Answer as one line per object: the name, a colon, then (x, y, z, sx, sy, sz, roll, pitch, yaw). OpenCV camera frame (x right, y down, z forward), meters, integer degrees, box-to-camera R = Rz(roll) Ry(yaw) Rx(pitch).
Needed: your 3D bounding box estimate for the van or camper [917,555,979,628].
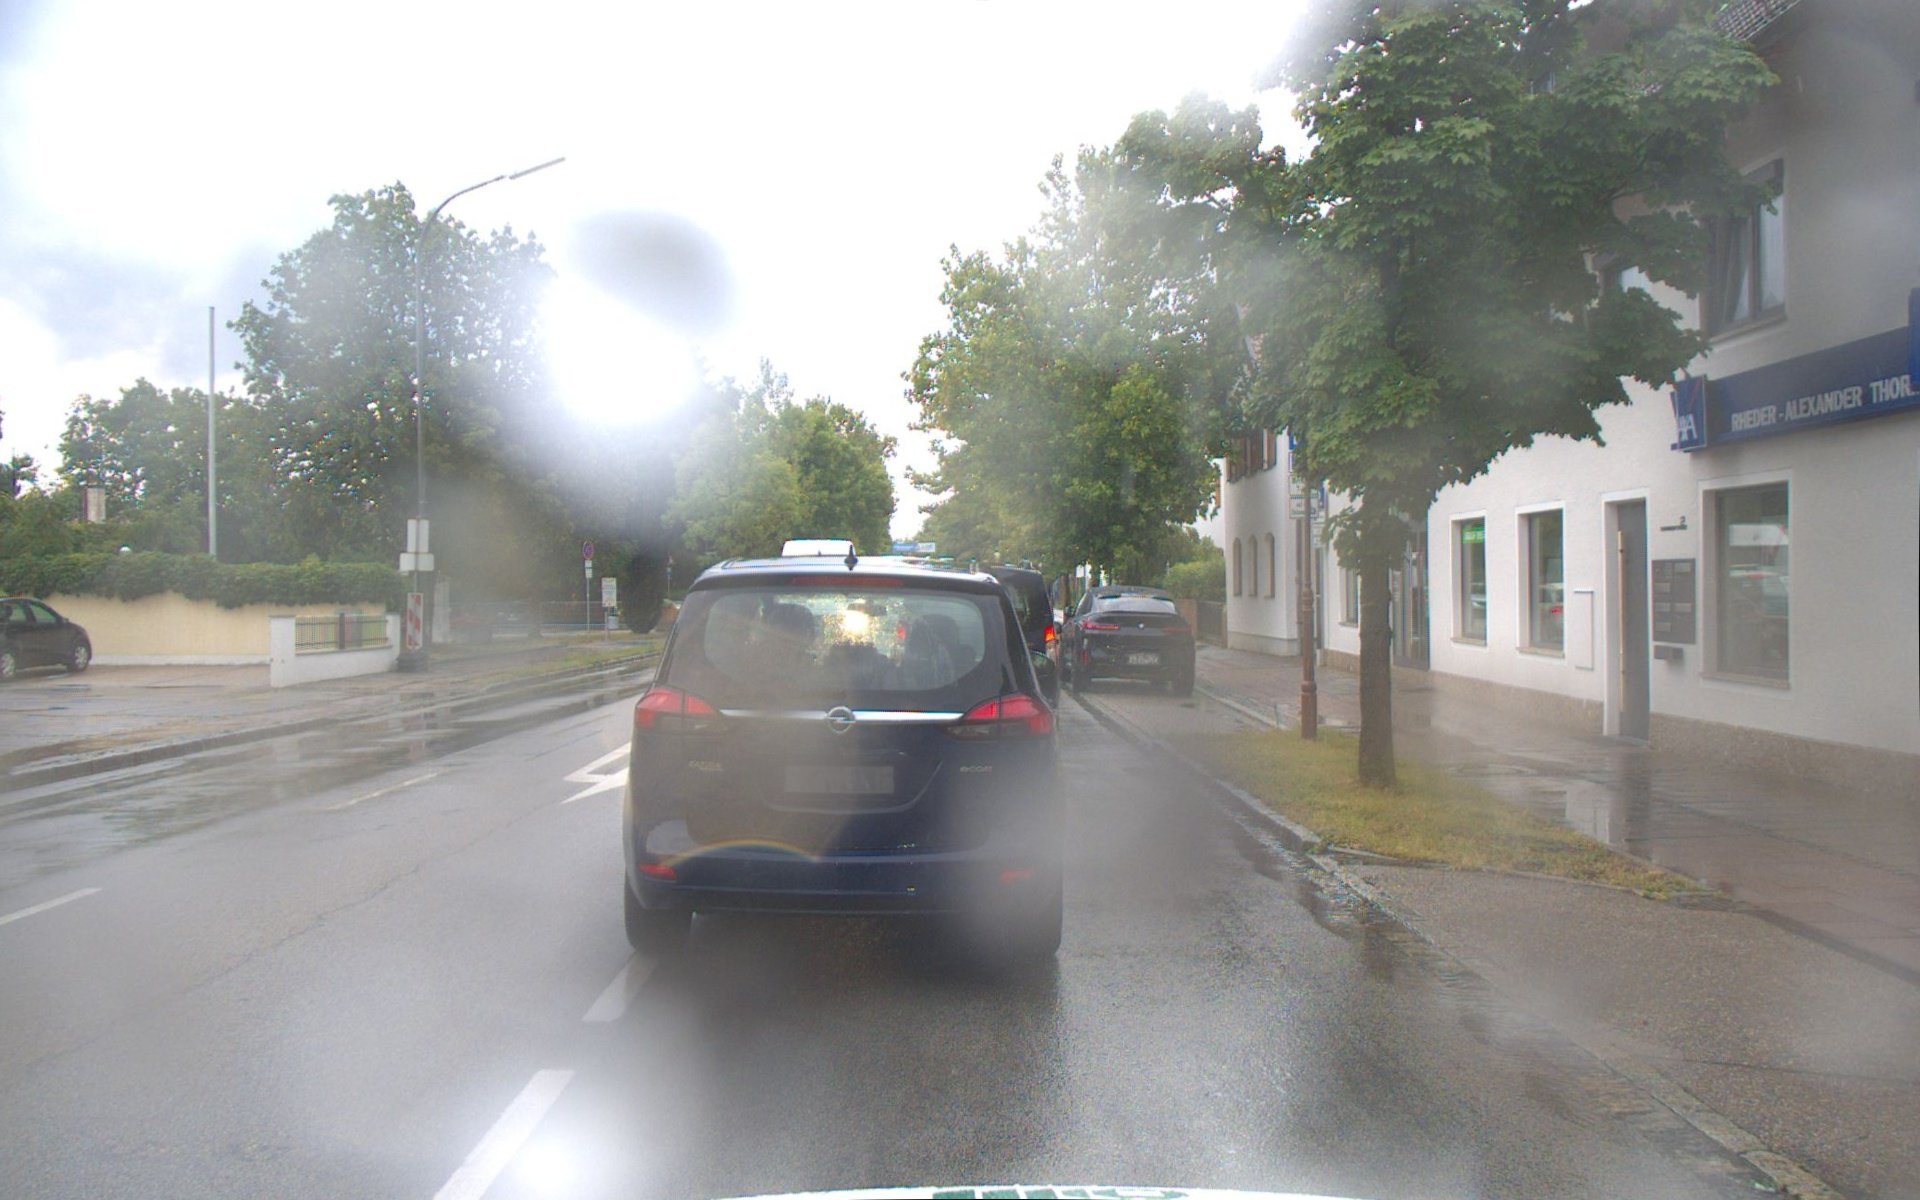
van or camper: (-0.487, -0.321, 65.029, 2.312, 2.712, 5.371, -1, 0, -1)

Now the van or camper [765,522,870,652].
van or camper: (-3.403, -0.286, 38.428, 2.055, 2.754, 6.256, -1, 0, -8)

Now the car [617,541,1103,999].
car: (-0.374, 0.608, 7.779, 1.733, 1.632, 3.663, 1, 0, -1)

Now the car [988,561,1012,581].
car: (2.996, -2.170, 124.824, 1.597, 1.402, 3.622, -2, 0, -1)

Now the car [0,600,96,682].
car: (-17.217, 0.726, 29.676, 1.574, 1.404, 3.508, -2, 0, -1)

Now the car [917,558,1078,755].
car: (0.331, 0.519, 16.866, 1.470, 1.807, 3.111, 1, 0, -1)

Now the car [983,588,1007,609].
car: (2.425, -0.067, 115.165, 1.597, 1.402, 3.622, 1, -1, -1)

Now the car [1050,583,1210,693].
car: (2.631, 0.570, 26.562, 2.074, 1.609, 3.934, 1, 0, -1)
